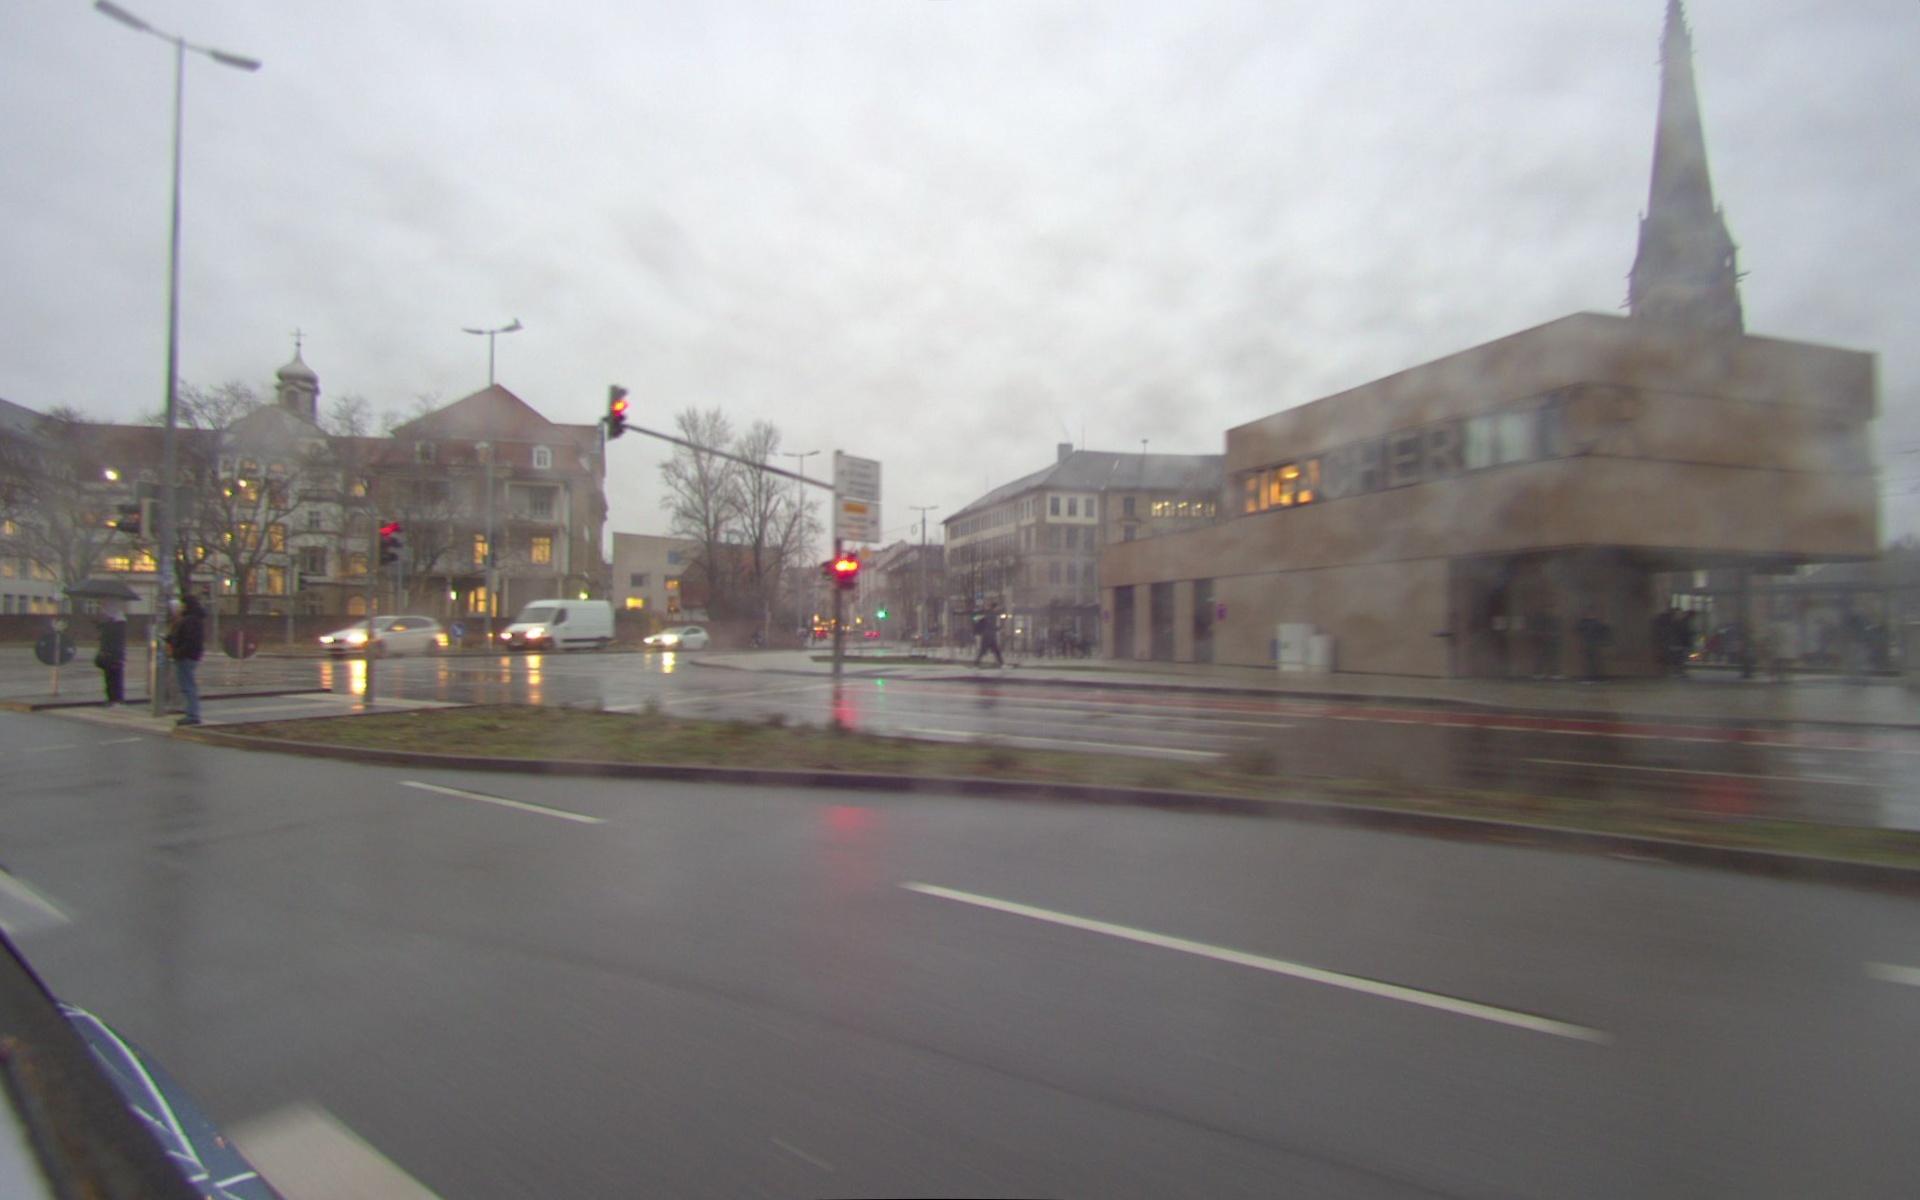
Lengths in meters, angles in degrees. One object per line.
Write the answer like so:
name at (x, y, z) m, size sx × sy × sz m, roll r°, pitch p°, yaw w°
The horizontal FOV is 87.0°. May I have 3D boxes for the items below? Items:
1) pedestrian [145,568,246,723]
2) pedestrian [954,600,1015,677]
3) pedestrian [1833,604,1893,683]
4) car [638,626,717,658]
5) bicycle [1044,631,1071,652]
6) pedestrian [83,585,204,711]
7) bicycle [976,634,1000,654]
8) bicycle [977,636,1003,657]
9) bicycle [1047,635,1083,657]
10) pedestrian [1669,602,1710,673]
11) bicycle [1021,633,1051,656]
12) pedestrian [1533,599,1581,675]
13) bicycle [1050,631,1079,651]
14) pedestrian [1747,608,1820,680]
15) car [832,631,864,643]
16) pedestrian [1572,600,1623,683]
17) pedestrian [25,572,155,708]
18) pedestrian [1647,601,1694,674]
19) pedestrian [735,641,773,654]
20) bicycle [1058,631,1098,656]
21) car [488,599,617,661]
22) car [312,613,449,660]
pedestrian at (-10.466, 0.628, 13.851) m, size 1.107 × 2.021 × 0.838 m, roll -4°, pitch -4°, yaw 37°
pedestrian at (0.613, 0.982, 25.689) m, size 1.213 × 1.872 × 1.038 m, roll -1°, pitch -3°, yaw -18°
pedestrian at (20.545, 0.985, 23.036) m, size 0.758 × 1.764 × 0.794 m, roll -1°, pitch -3°, yaw 25°
car at (-15.289, 2.279, 55.017) m, size 1.823 × 1.656 × 4.789 m, roll 0°, pitch -2°, yaw 17°
bicycle at (5.652, 2.429, 58.939) m, size 0.636 × 1.113 × 2.758 m, roll -1°, pitch -3°, yaw -15°
pedestrian at (-12.757, 0.754, 15.845) m, size 1.057 × 1.872 × 1.034 m, roll -2°, pitch -3°, yaw 5°
bicycle at (1.630, 2.585, 59.456) m, size 0.636 × 1.113 × 2.758 m, roll -1°, pitch -3°, yaw -15°
bicycle at (1.623, 2.562, 55.325) m, size 0.636 × 1.113 × 2.758 m, roll -1°, pitch -3°, yaw -14°
bicycle at (5.603, 2.459, 54.351) m, size 0.636 × 1.113 × 2.760 m, roll -1°, pitch -2°, yaw -23°
pedestrian at (18.222, 0.932, 25.296) m, size 0.741 × 1.739 × 0.734 m, roll -1°, pitch -3°, yaw 32°
bicycle at (3.932, 2.318, 52.508) m, size 0.636 × 1.113 × 2.758 m, roll -1°, pitch -3°, yaw -14°
pedestrian at (13.972, 0.875, 23.687) m, size 0.731 × 1.739 × 0.745 m, roll 2°, pitch -3°, yaw -40°
bicycle at (6.285, 2.479, 61.009) m, size 0.636 × 1.113 × 2.759 m, roll -1°, pitch -3°, yaw -17°
pedestrian at (19.024, 1.008, 23.388) m, size 0.841 × 1.615 × 0.968 m, roll 1°, pitch -2°, yaw -18°
car at (-15.701, 5.214, 142.154) m, size 3.933 × 1.763 × 1.978 m, roll 2°, pitch -3°, yaw -34°
pedestrian at (14.054, 0.916, 22.336) m, size 0.828 × 1.781 × 0.656 m, roll -1°, pitch -3°, yaw 26°
pedestrian at (-13.883, 0.646, 16.197) m, size 1.022 × 2.065 × 1.213 m, roll -2°, pitch -3°, yaw 6°
pedestrian at (17.254, 0.920, 24.587) m, size 0.731 × 1.739 × 0.745 m, roll 2°, pitch -3°, yaw -40°
pedestrian at (-17.445, 3.998, 85.648) m, size 3.048 × 0.937 × 0.951 m, roll -2°, pitch -3°, yaw -13°
bicycle at (5.570, 2.062, 47.926) m, size 0.597 × 1.113 × 2.759 m, roll -1°, pitch -2°, yaw -21°
car at (-18.266, 1.390, 45.751) m, size 2.327 × 2.537 × 5.836 m, roll -3°, pitch -3°, yaw 16°
car at (-20.794, 1.315, 36.505) m, size 1.740 × 1.515 × 4.293 m, roll -3°, pitch -3°, yaw 17°
